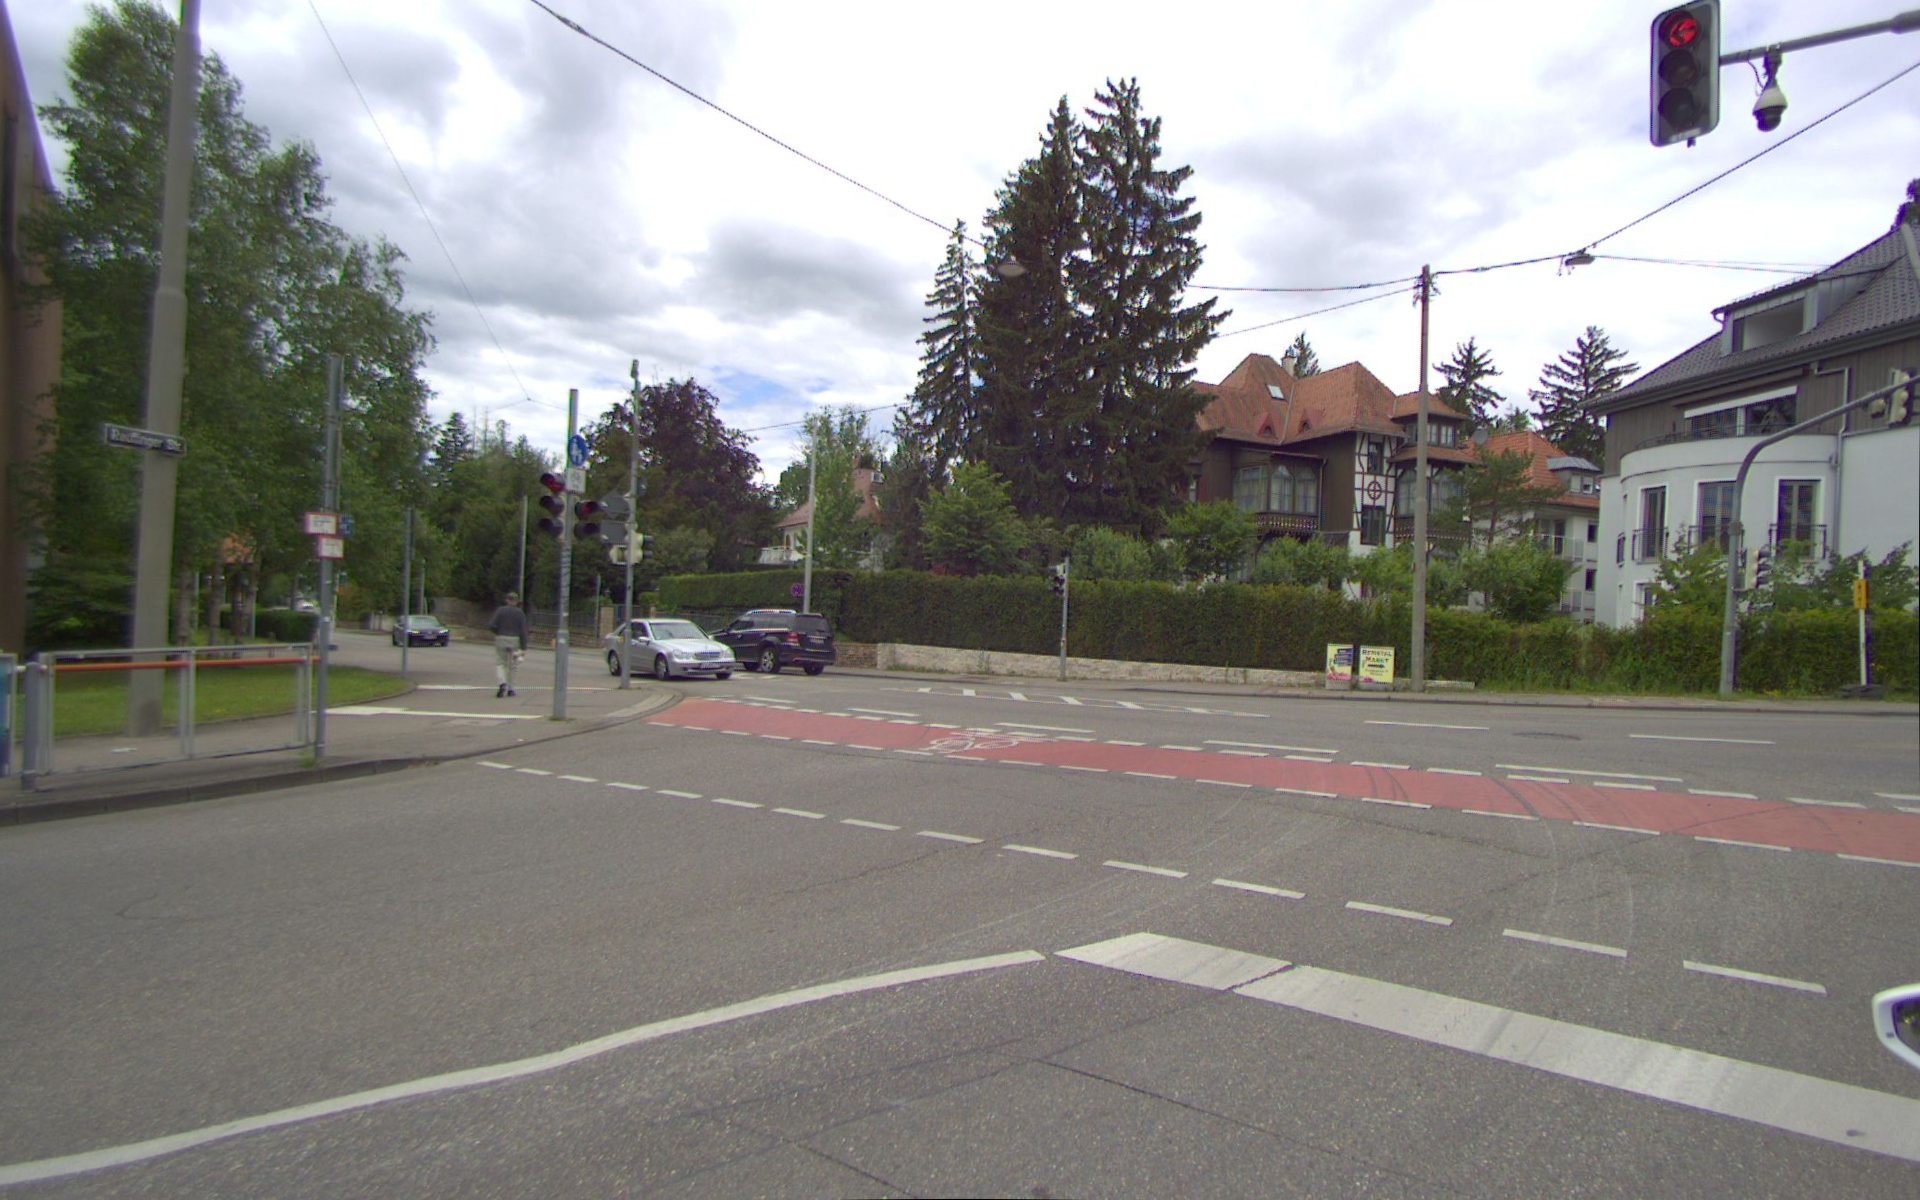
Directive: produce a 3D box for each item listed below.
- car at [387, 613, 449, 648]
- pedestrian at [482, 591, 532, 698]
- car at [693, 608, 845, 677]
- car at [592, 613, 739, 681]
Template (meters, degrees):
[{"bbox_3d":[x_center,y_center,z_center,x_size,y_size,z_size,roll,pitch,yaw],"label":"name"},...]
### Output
[{"bbox_3d":[-25.429,1.431,47.080,1.816,1.556,3.955,2,-2,-39],"label":"car"},{"bbox_3d":[-7.270,0.696,16.105,0.675,1.655,0.734,0,-1,-29],"label":"pedestrian"},{"bbox_3d":[-5.849,1.231,30.406,5.070,1.905,1.908,-1,-2,44],"label":"car"},{"bbox_3d":[-7.238,1.069,24.409,1.697,1.432,4.371,1,0,-42],"label":"car"}]
